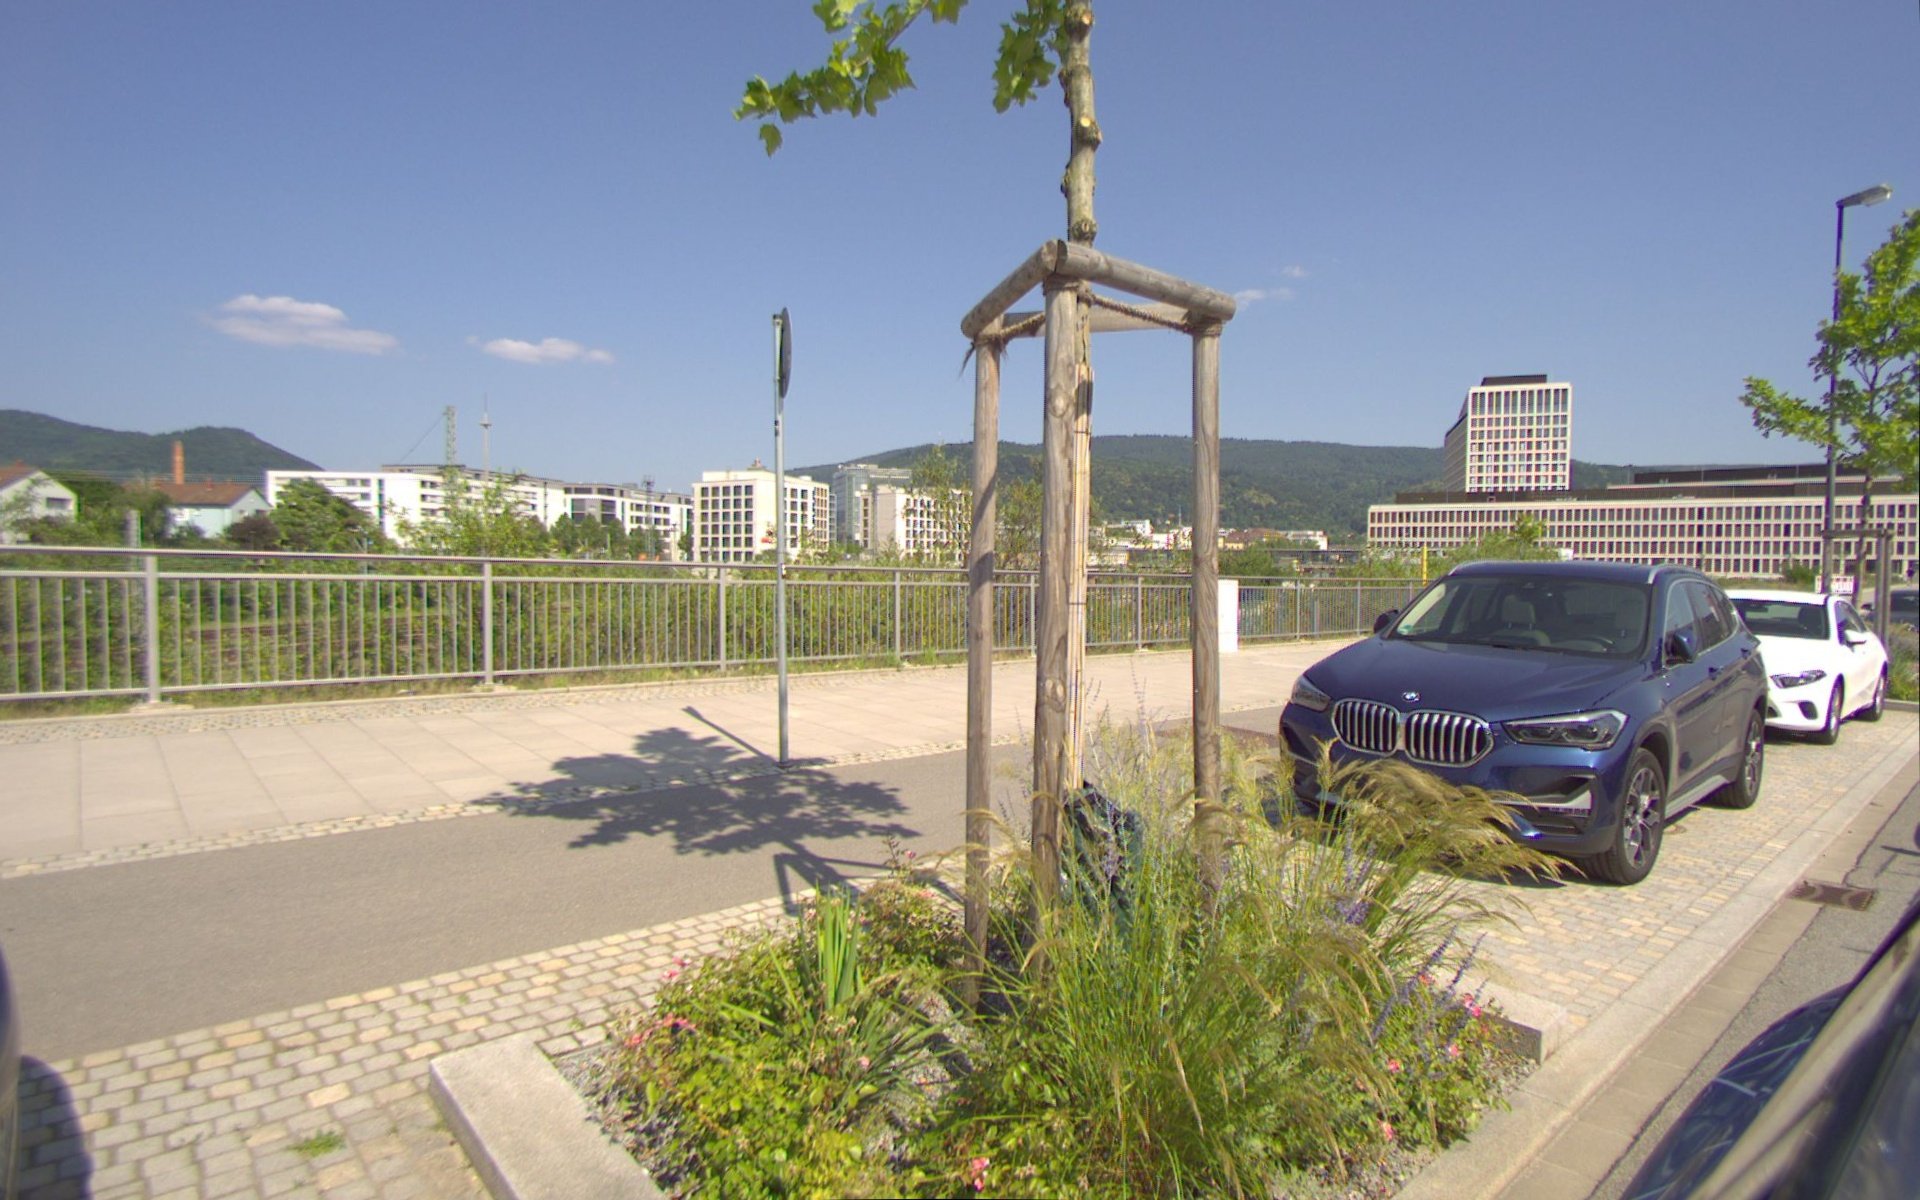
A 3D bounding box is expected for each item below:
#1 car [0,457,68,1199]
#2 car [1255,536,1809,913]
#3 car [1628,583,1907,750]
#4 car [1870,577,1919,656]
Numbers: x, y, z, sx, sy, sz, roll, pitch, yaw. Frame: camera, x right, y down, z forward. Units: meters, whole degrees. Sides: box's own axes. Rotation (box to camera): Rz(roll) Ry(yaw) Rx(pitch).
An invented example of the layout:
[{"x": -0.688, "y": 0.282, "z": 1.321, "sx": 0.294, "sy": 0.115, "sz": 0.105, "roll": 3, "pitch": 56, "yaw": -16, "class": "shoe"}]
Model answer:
[{"x": -2.972, "y": 0.555, "z": 0.380, "sx": 3.931, "sy": 1.444, "sz": 1.663, "roll": -1, "pitch": 3, "yaw": -41, "class": "car"}, {"x": 3.816, "y": 0.514, "z": 6.419, "sx": 4.164, "sy": 1.627, "sz": 1.768, "roll": -1, "pitch": 0, "yaw": -41, "class": "car"}, {"x": 8.781, "y": 0.566, "z": 10.896, "sx": 3.930, "sy": 1.473, "sz": 1.663, "roll": -1, "pitch": 0, "yaw": -41, "class": "car"}, {"x": 20.371, "y": 0.304, "z": 21.068, "sx": 3.930, "sy": 1.558, "sz": 1.663, "roll": -1, "pitch": 0, "yaw": -41, "class": "car"}]
